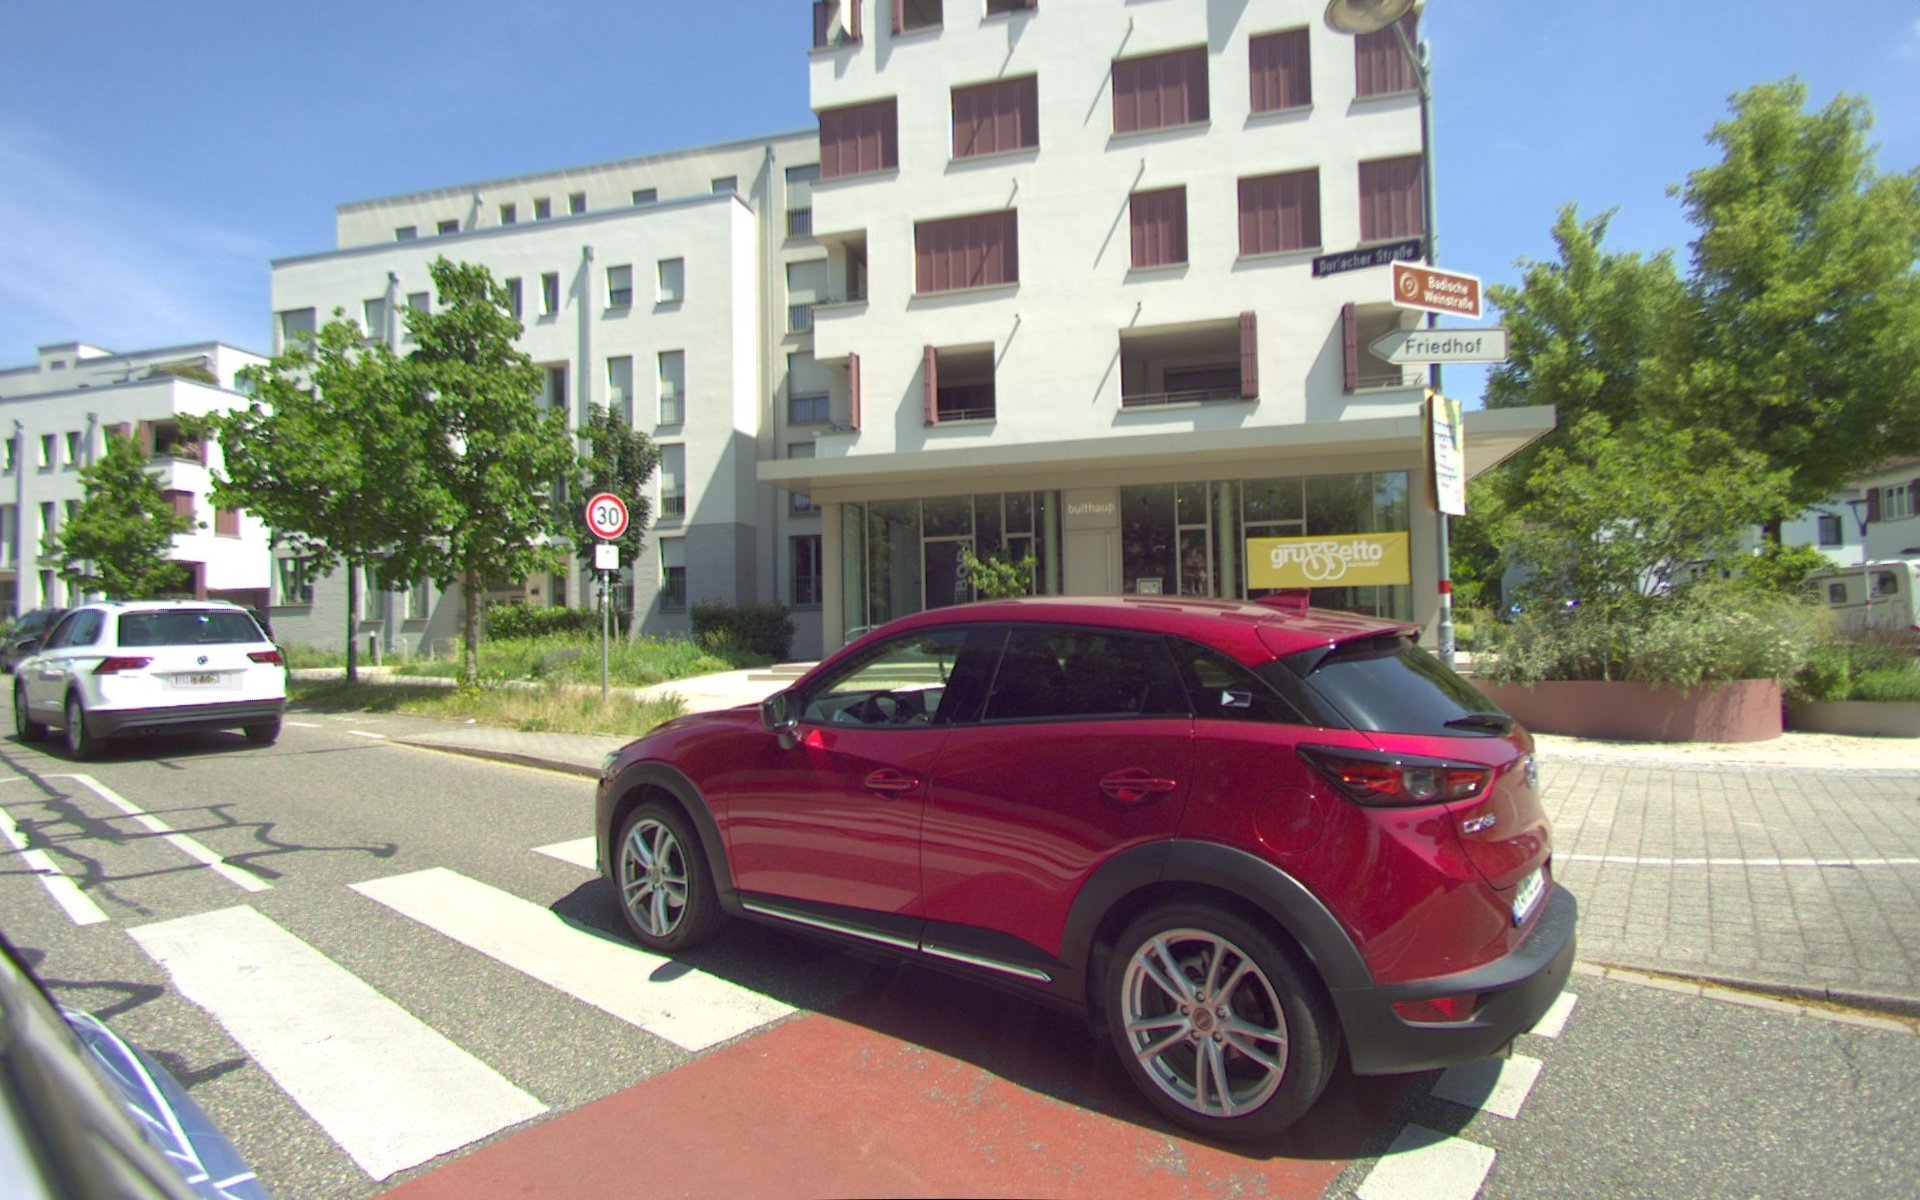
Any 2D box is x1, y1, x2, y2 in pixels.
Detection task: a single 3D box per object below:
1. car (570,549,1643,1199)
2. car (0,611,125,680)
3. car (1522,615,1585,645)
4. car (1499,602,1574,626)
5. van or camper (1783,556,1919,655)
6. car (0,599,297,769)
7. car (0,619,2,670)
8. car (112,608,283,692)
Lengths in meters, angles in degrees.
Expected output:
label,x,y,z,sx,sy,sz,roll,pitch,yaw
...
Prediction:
label,x,y,z,sx,sy,sz,roll,pitch,yaw
car,0.296,0.702,4.116,3.987,1.516,1.734,-2,-2,38
car,-23.831,1.161,26.765,3.616,1.713,1.681,-1,-1,33
car,31.792,1.605,54.321,1.738,1.516,3.976,-1,-1,12
car,39.698,0.968,69.730,4.069,1.621,1.813,-1,-1,6
van or camper,27.463,0.118,29.854,2.251,2.658,5.864,-4,-2,11
car,-9.416,0.842,11.634,4.114,1.621,1.793,-1,-1,38
car,-31.980,1.396,31.741,3.610,1.602,1.774,-1,-1,28
car,-16.539,1.032,21.901,4.008,1.650,1.681,-1,-1,33
